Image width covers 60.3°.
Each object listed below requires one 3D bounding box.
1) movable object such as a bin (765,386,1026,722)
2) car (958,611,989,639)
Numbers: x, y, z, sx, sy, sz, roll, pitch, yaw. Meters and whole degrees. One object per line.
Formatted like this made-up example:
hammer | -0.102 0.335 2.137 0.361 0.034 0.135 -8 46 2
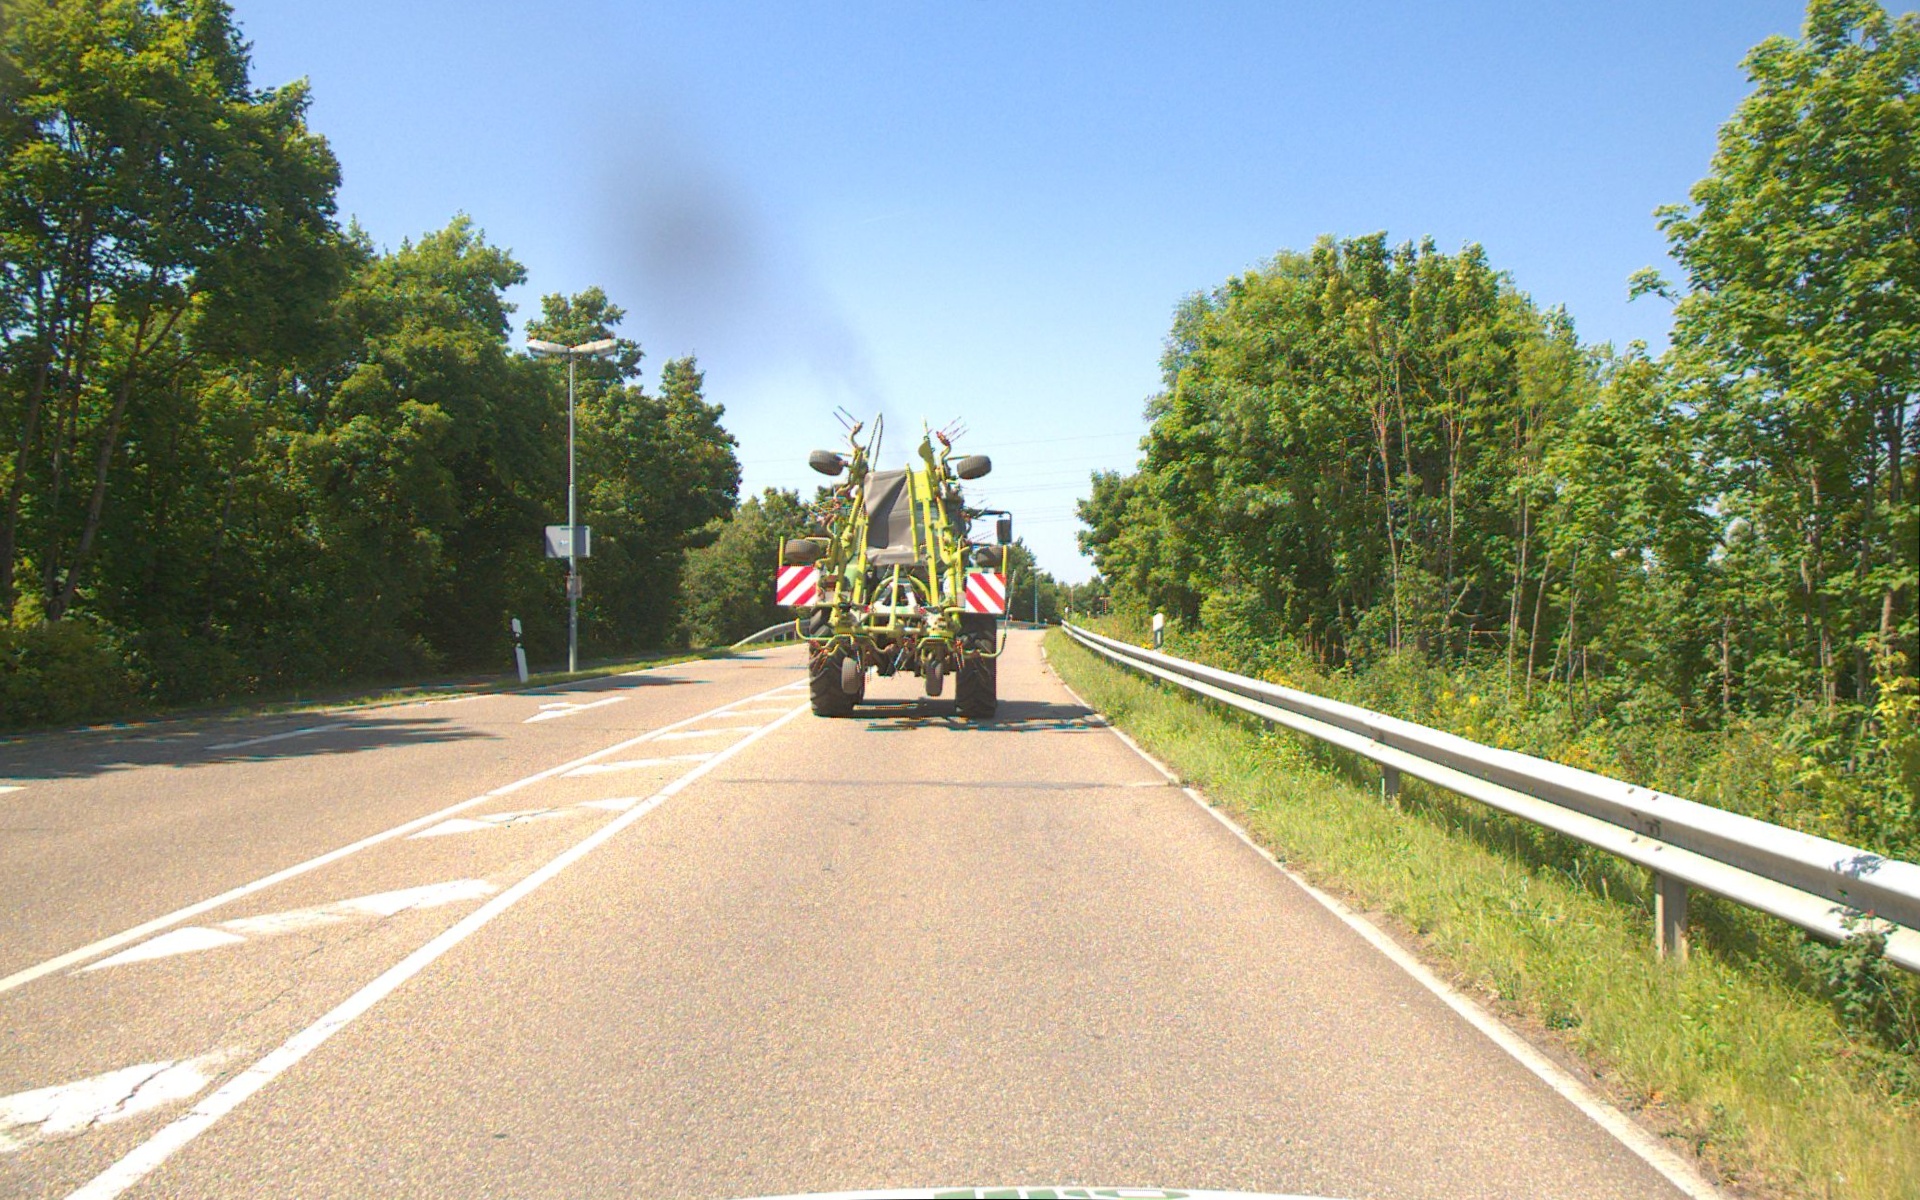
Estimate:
movable object such as a bin | -0.621 -0.442 20.170 2.698 3.504 5.670 1 -1 1
car | 0.842 1.492 99.189 1.704 1.481 3.889 5 -1 1
